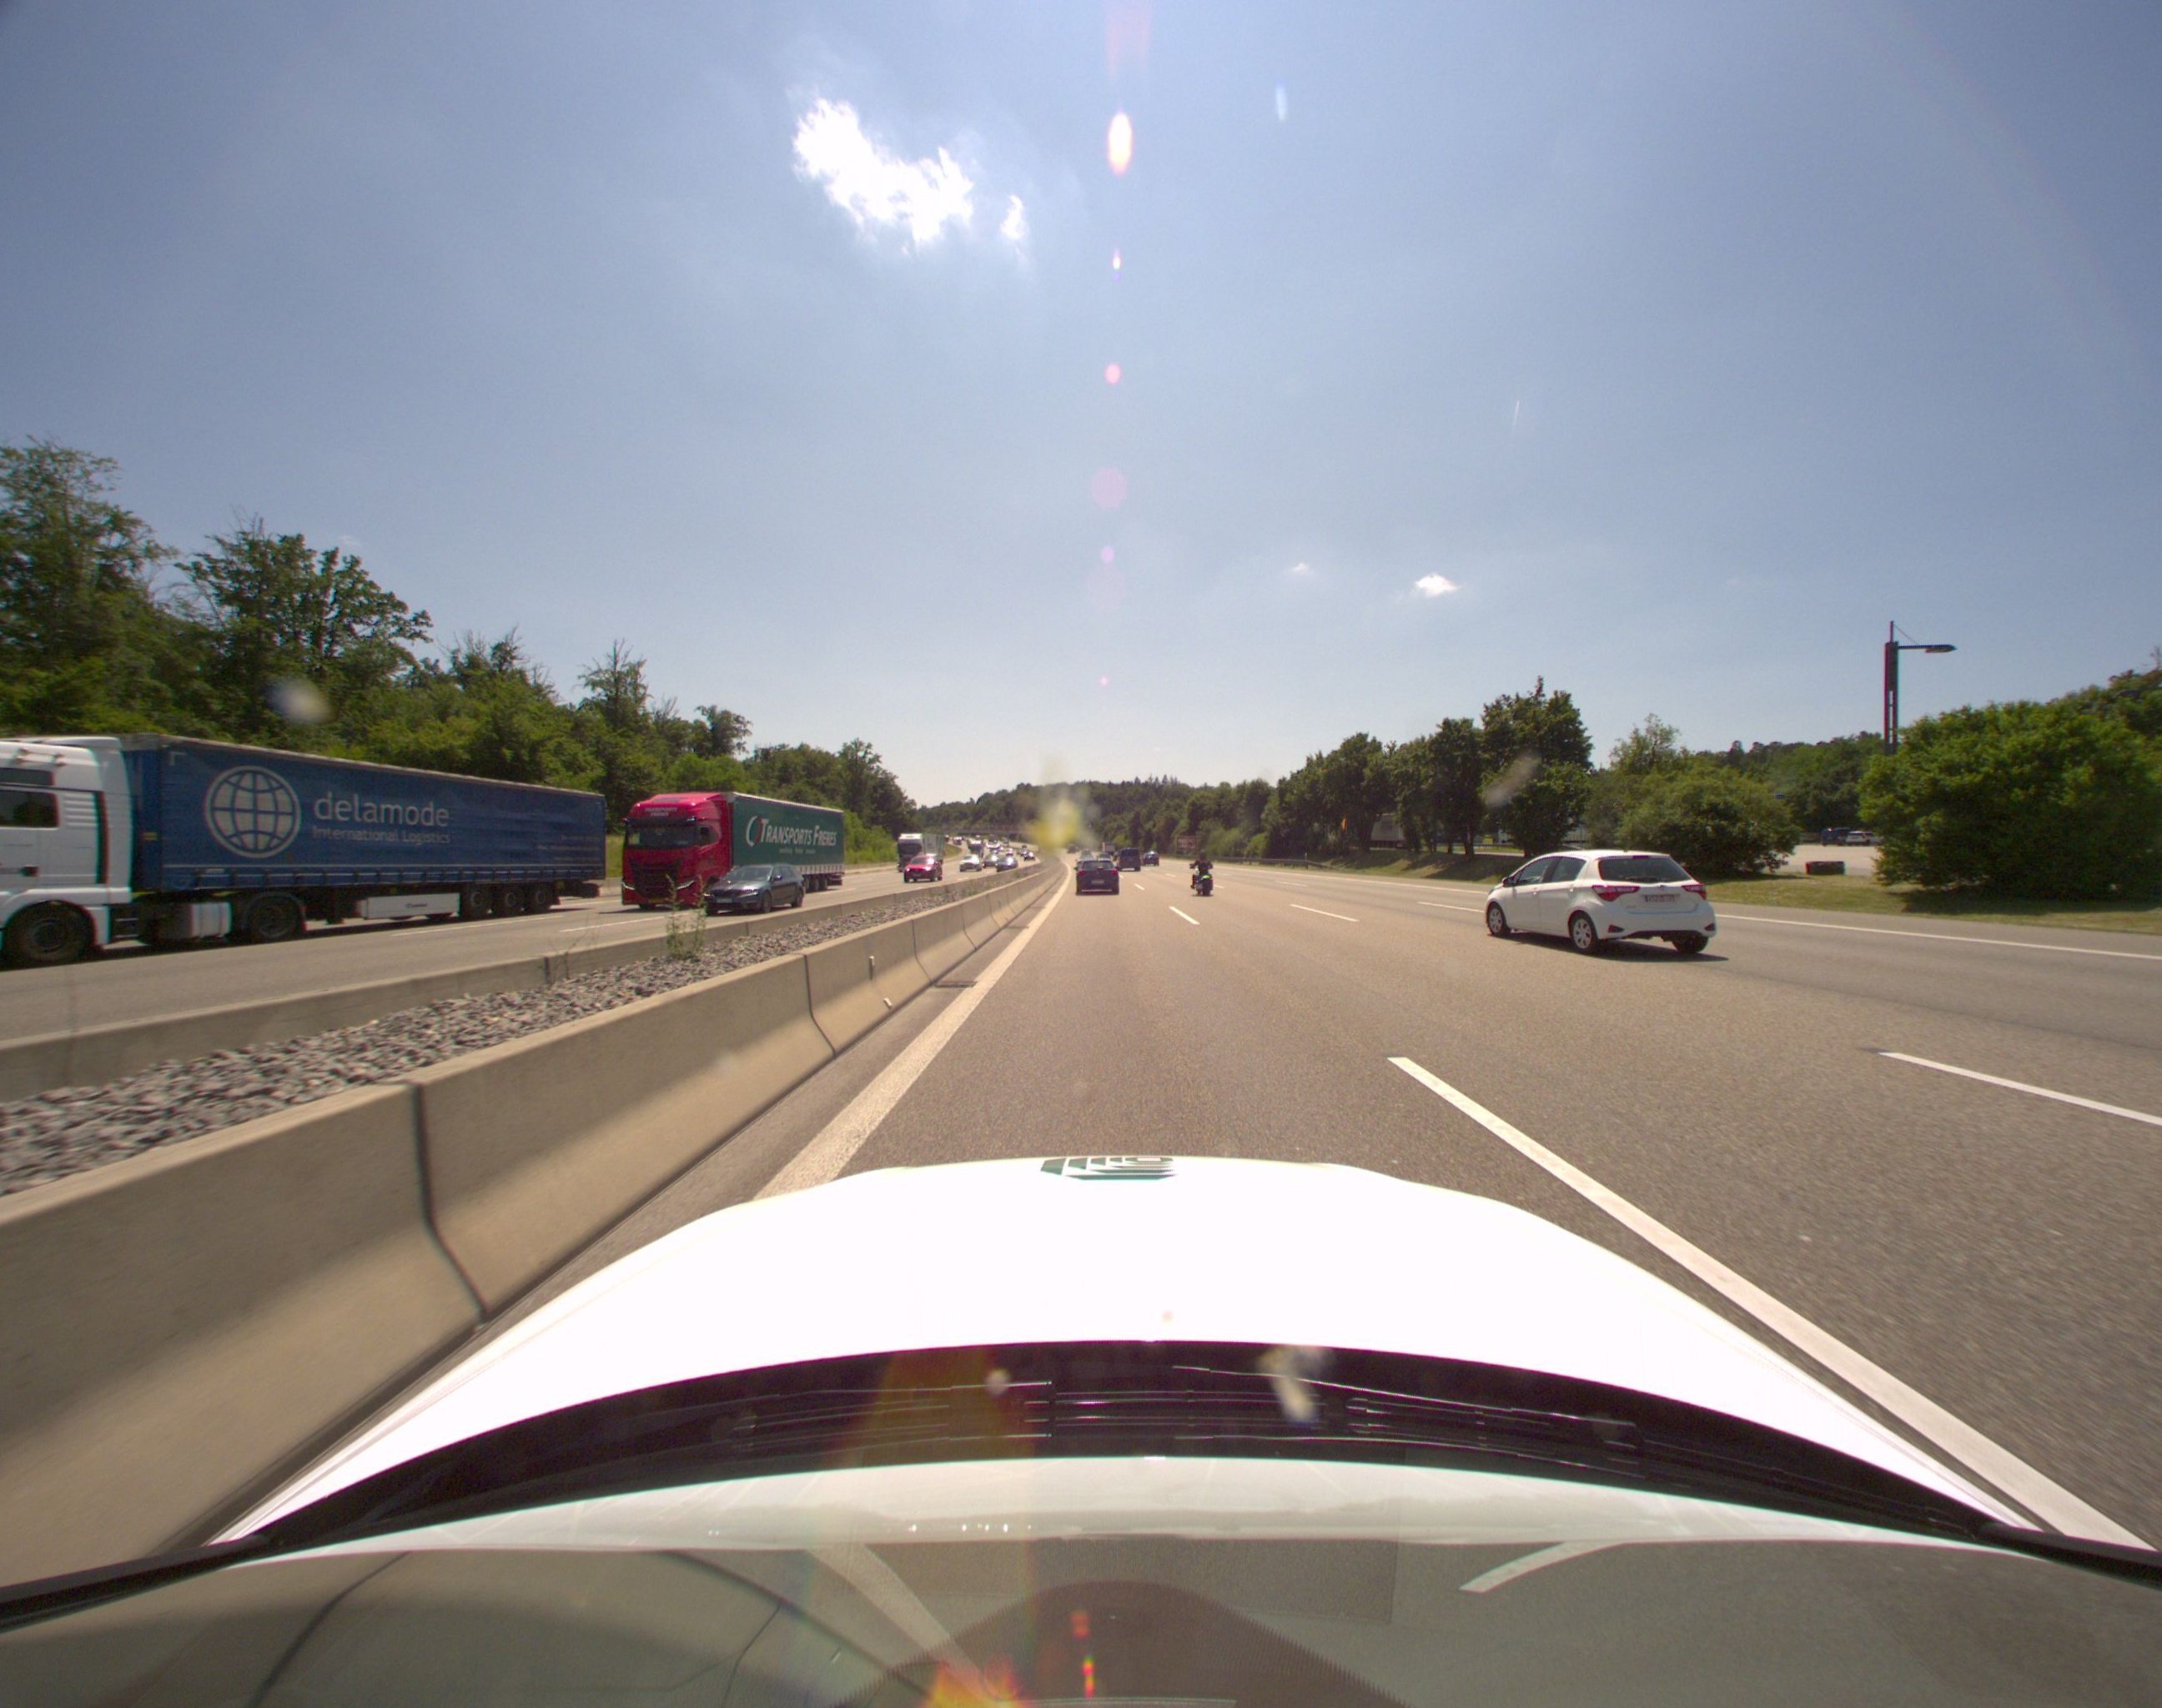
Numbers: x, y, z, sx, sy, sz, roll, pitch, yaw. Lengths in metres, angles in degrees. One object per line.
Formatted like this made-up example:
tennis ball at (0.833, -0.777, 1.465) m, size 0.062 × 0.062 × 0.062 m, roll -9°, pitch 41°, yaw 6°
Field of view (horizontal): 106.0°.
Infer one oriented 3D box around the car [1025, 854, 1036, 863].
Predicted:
car at (-9.066, 0.755, 145.710) m, size 1.983 × 1.548 × 4.874 m, roll -1°, pitch 0°, yaw -4°

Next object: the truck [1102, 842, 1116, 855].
truck at (6.327, -1.302, 183.891) m, size 2.720 × 2.786 × 5.677 m, roll 2°, pitch 0°, yaw -3°

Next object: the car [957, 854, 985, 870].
car at (-10.872, 0.783, 80.826) m, size 1.987 × 1.548 × 4.881 m, roll -2°, pitch 0°, yaw 1°

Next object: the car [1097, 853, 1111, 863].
car at (3.082, 0.527, 110.636) m, size 1.835 × 1.222 × 4.225 m, roll 2°, pitch 0°, yaw 1°

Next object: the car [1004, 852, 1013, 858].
car at (-17.437, 0.175, 196.406) m, size 1.990 × 1.354 × 3.830 m, roll 2°, pitch 0°, yaw -5°

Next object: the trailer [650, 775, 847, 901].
trailer at (-13.583, -0.599, 35.346) m, size 2.492 × 4.351 × 14.303 m, roll 0°, pitch 0°, yaw 1°

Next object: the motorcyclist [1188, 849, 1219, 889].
motorcyclist at (4.524, 0.560, 30.139) m, size 0.959 × 1.437 × 1.235 m, roll -1°, pitch 0°, yaw 1°

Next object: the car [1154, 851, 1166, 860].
car at (11.282, 0.276, 116.441) m, size 1.601 × 1.212 × 3.463 m, roll -1°, pitch -2°, yaw 4°

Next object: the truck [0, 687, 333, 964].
truck at (-18.209, -0.454, 15.112) m, size 2.493 × 4.351 × 6.605 m, roll 0°, pitch 0°, yaw 0°

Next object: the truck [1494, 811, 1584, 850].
truck at (45.380, -2.188, 81.253) m, size 3.314 × 3.564 × 10.557 m, roll -1°, pitch 0°, yaw 2°

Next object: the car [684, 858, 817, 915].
car at (-10.010, 0.926, 25.187) m, size 1.986 × 1.548 × 4.883 m, roll -1°, pitch 0°, yaw 2°

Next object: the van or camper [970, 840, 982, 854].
van or camper at (-23.108, -1.588, 179.521) m, size 2.311 × 2.771 × 7.152 m, roll 2°, pitch 2°, yaw -5°

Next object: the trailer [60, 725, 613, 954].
trailer at (-18.143, -0.320, 22.397) m, size 2.492 × 4.351 × 13.698 m, roll 0°, pitch 0°, yaw 1°

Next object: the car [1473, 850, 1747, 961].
car at (7.928, 0.680, 12.774) m, size 1.659 × 1.433 × 4.379 m, roll -1°, pitch 0°, yaw 3°

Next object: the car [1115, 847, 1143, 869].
car at (4.159, 0.378, 71.333) m, size 2.091 × 1.851 × 4.079 m, roll -1°, pitch 0°, yaw -1°

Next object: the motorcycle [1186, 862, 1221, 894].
motorcycle at (4.533, 0.881, 30.301) m, size 0.974 × 1.129 × 2.271 m, roll -1°, pitch 0°, yaw 1°

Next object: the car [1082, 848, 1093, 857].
car at (1.277, -0.304, 159.677) m, size 1.989 × 1.684 × 4.418 m, roll 2°, pitch 0°, yaw -3°

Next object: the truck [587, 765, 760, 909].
truck at (-13.651, -0.549, 28.003) m, size 2.492 × 4.351 × 6.607 m, roll 0°, pitch 0°, yaw 1°

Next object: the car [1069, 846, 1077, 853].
car at (-2.293, -1.280, 228.395) m, size 1.988 × 2.013 × 4.671 m, roll 2°, pitch 0°, yaw -2°

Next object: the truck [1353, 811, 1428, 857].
truck at (34.706, -2.072, 92.316) m, size 3.314 × 4.829 × 14.703 m, roll -1°, pitch 0°, yaw 2°

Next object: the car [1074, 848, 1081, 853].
car at (-0.939, -1.123, 251.456) m, size 1.986 × 1.574 × 4.001 m, roll 2°, pitch 0°, yaw 1°

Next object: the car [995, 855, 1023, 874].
car at (-6.488, 0.924, 73.730) m, size 1.987 × 1.548 × 4.880 m, roll -2°, pitch 0°, yaw 0°

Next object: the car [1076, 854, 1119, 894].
car at (0.695, 0.778, 33.039) m, size 1.618 × 1.487 × 3.686 m, roll -1°, pitch 0°, yaw 2°

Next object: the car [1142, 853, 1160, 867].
car at (7.754, 0.667, 90.333) m, size 1.670 × 1.432 × 3.683 m, roll 1°, pitch -1°, yaw -1°

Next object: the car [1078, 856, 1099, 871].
car at (0.649, 0.816, 72.371) m, size 1.777 × 1.265 × 3.458 m, roll -2°, pitch 0°, yaw -1°

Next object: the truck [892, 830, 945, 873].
truck at (-17.833, -0.202, 90.493) m, size 2.892 × 4.351 × 16.545 m, roll -1°, pitch 0°, yaw -1°

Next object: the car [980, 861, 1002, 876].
car at (-10.610, 1.698, 96.467) m, size 2.018 × 1.548 × 4.880 m, roll -2°, pitch 0°, yaw 0°

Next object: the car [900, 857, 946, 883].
car at (-10.053, 0.986, 52.204) m, size 1.987 × 1.548 × 4.880 m, roll -2°, pitch 0°, yaw 0°
